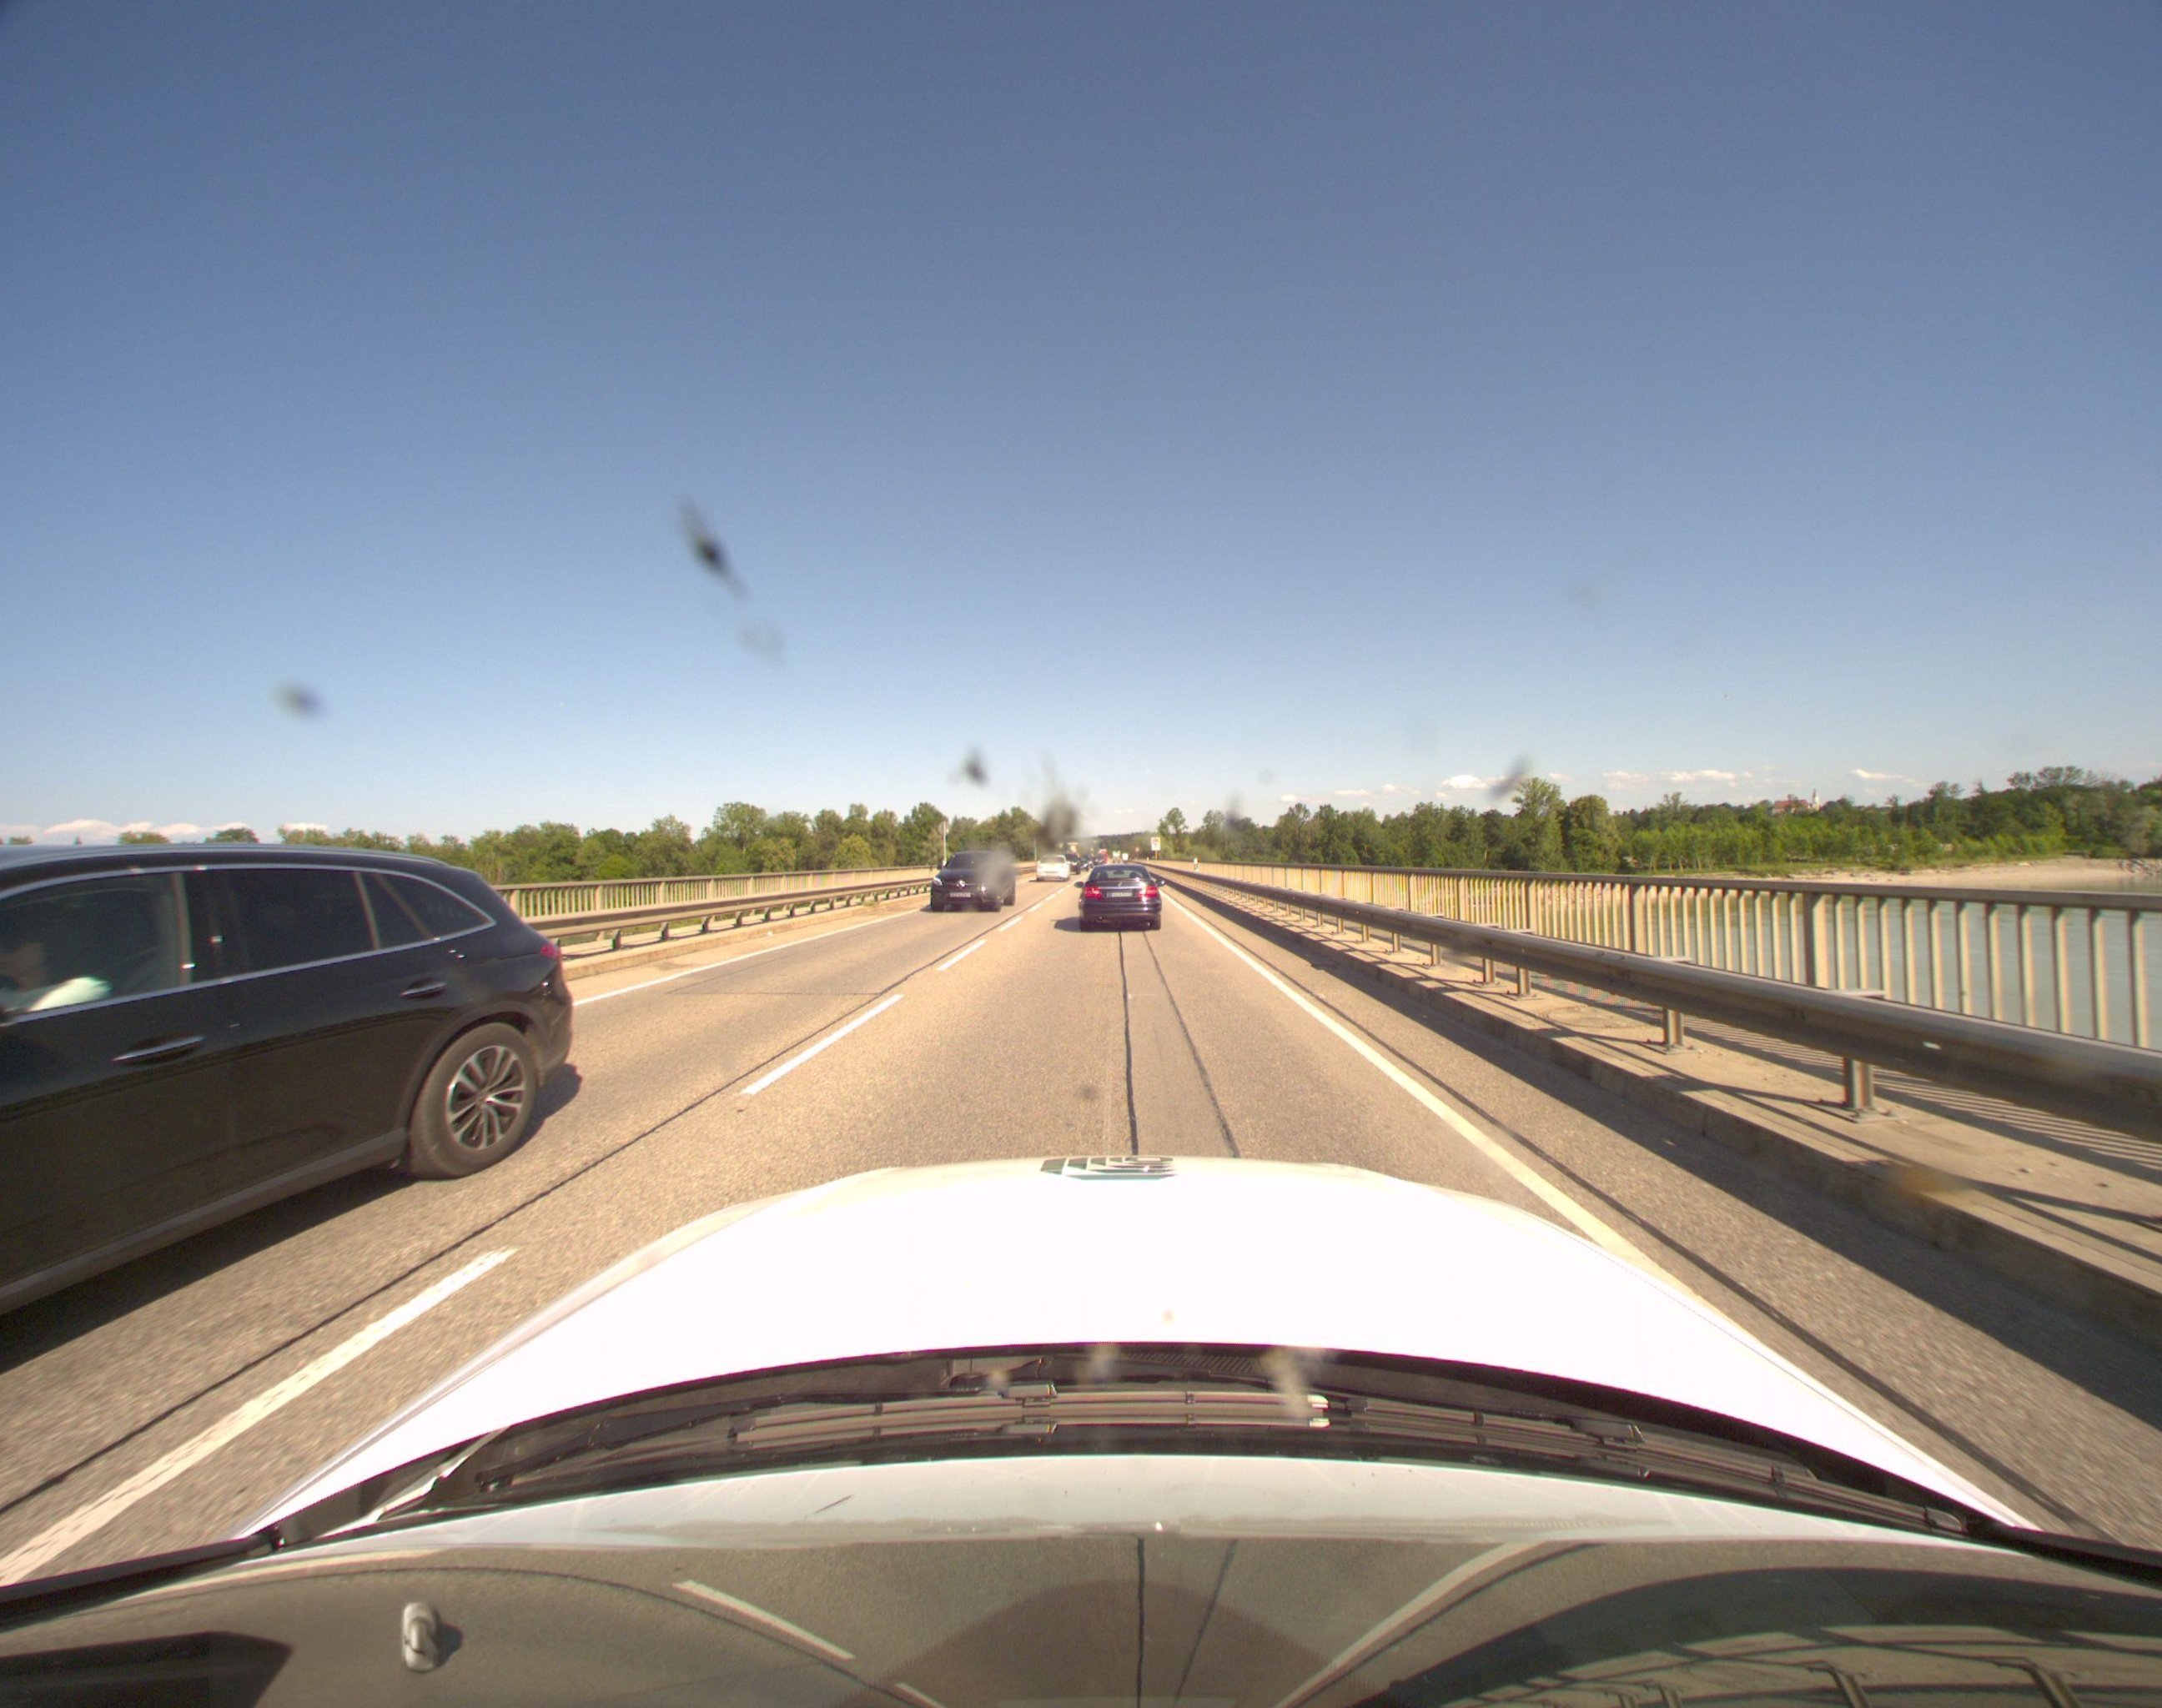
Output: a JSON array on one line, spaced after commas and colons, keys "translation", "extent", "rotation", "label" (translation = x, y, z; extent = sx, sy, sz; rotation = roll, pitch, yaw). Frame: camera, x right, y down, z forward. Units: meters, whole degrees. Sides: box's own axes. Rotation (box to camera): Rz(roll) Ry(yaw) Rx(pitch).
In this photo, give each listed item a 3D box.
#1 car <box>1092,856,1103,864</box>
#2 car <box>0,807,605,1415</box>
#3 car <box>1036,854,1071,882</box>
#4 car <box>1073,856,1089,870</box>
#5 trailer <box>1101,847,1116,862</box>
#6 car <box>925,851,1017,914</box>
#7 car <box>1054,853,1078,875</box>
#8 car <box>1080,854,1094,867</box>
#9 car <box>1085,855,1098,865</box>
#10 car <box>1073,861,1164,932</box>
[{"translation": [3.117, 1.162, 155.607], "extent": [1.801, 1.577, 4.199], "rotation": [-1, 0, -1], "label": "car"}, {"translation": [-3.844, 0.713, 2.720], "extent": [1.796, 1.661, 4.434], "rotation": [-1, 0, 1], "label": "car"}, {"translation": [-1.693, 0.841, 51.609], "extent": [1.976, 1.651, 4.598], "rotation": [-1, 0, 1], "label": "car"}, {"translation": [-0.036, 0.979, 89.994], "extent": [1.760, 1.447, 4.454], "rotation": [-1, 0, -1], "label": "car"}, {"translation": [8.077, 0.099, 241.656], "extent": [2.902, 4.302, 14.280], "rotation": [-1, 0, -4], "label": "trailer"}, {"translation": [-3.138, 0.772, 24.211], "extent": [1.941, 1.694, 4.479], "rotation": [-1, 0, 2], "label": "car"}, {"translation": [-1.344, 0.849, 72.451], "extent": [2.031, 1.873, 5.068], "rotation": [1, 0, -1], "label": "car"}, {"translation": [0.799, 0.906, 114.165], "extent": [1.847, 1.722, 4.567], "rotation": [-1, 0, 1], "label": "car"}, {"translation": [1.765, 1.067, 138.573], "extent": [2.047, 1.652, 4.719], "rotation": [1, 0, -1], "label": "car"}, {"translation": [0.834, 0.854, 18.067], "extent": [1.786, 1.376, 4.003], "rotation": [-1, 0, 2], "label": "car"}]
